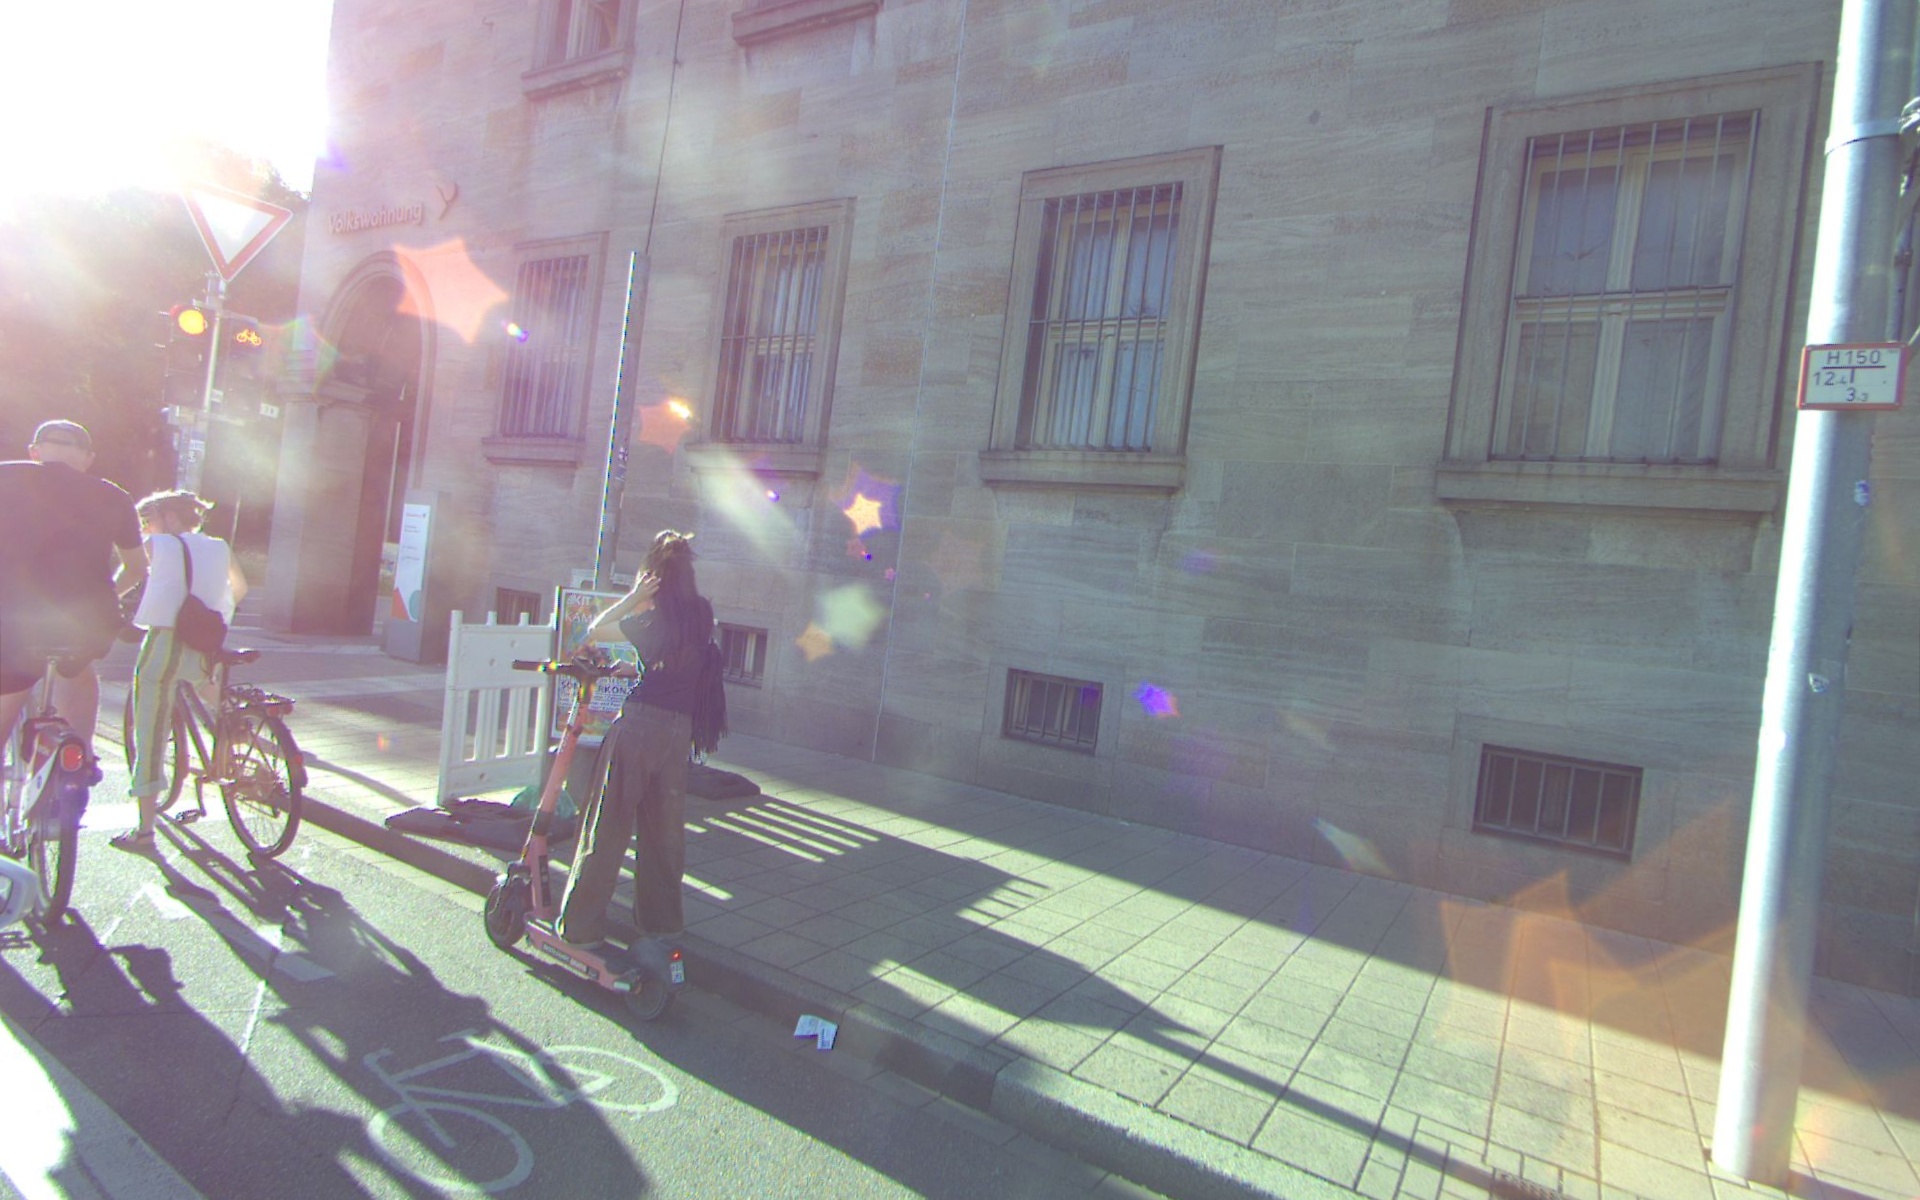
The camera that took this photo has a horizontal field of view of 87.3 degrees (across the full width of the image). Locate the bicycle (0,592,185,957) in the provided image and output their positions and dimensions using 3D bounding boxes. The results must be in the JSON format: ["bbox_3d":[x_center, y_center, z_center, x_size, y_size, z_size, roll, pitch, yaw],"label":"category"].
[{"bbox_3d":[-3.739,0.574,3.927,1.700,1.090,0.516,7,-1,34],"label":"bicycle"}]

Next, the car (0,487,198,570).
[{"bbox_3d":[-23.374,-1.893,27.197,1.622,1.630,3.999,7,-1,31],"label":"car"}]

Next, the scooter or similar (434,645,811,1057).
[{"bbox_3d":[-1.316,0.859,3.860,1.305,1.199,0.535,7,0,31],"label":"scooter or similar"}]

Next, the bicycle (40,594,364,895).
[{"bbox_3d":[-3.683,0.622,4.844,1.721,1.090,0.535,7,-1,31],"label":"bicycle"}]

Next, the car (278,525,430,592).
[{"bbox_3d":[-19.784,-1.317,33.011,1.623,1.630,3.854,7,-1,31],"label":"car"}]

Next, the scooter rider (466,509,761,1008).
[{"bbox_3d":[-1.317,0.559,3.892,0.547,1.691,0.730,7,0,32],"label":"scooter rider"}]

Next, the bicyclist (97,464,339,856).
[{"bbox_3d":[-3.536,0.266,4.806,0.629,1.711,0.558,7,-1,30],"label":"bicyclist"}]

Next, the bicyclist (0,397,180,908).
[{"bbox_3d":[-3.550,0.193,3.856,0.541,1.820,0.559,7,-1,33],"label":"bicyclist"}]
